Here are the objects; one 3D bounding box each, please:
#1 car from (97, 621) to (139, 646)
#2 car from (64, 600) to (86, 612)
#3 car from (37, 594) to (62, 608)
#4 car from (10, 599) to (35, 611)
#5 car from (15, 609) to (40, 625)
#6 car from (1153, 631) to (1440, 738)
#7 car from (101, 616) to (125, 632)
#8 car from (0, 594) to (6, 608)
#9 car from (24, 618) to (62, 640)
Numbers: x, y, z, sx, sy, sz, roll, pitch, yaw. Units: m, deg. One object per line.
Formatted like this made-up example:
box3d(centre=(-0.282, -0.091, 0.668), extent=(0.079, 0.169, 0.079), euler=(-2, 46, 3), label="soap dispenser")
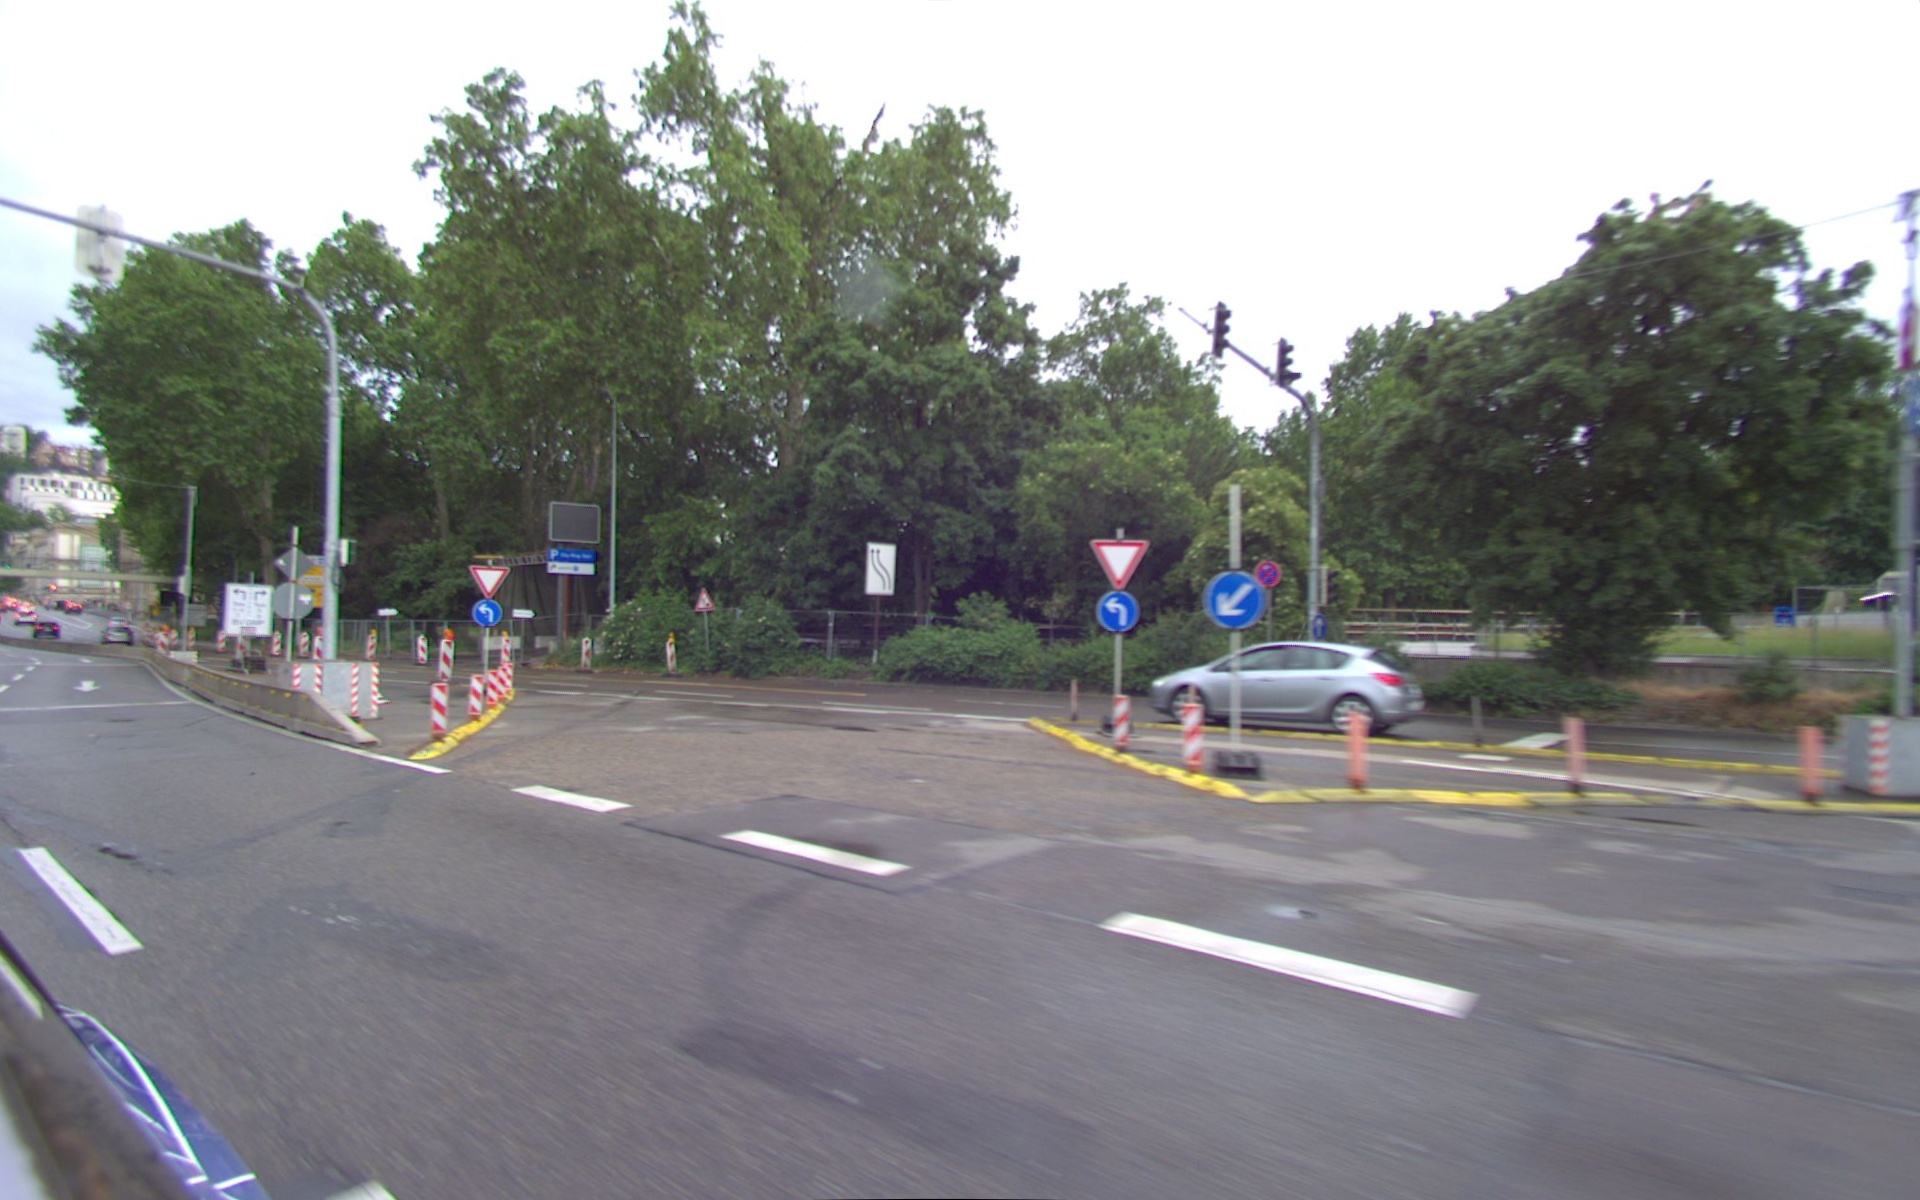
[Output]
box3d(centre=(-62.528, 2.474, 75.122), extent=(1.970, 1.552, 4.449), euler=(4, -1, -44), label="car")
box3d(centre=(-133.552, 0.876, 152.703), extent=(4.319, 1.666, 2.008), euler=(-1, -3, 43), label="car")
box3d(centre=(-147.276, 0.203, 163.683), extent=(3.991, 2.029, 1.976), euler=(3, -1, 35), label="car")
box3d(centre=(-135.463, 0.691, 146.189), extent=(4.206, 1.393, 1.975), euler=(3, -1, 37), label="car")
box3d(centre=(-108.186, 1.956, 117.445), extent=(2.006, 1.666, 4.916), euler=(4, -3, -43), label="car")
box3d(centre=(5.487, 1.332, 16.718), extent=(4.169, 1.474, 1.749), euler=(0, -4, 36), label="car")
box3d(centre=(-93.070, 2.614, 111.193), extent=(1.846, 1.552, 4.096), euler=(4, -1, -42), label="car")
box3d(centre=(-138.785, 0.084, 145.245), extent=(5.040, 1.951, 2.010), euler=(3, -1, 40), label="car")
box3d(centre=(-79.454, 2.515, 87.649), extent=(4.580, 1.552, 1.972), euler=(3, -1, 43), label="car")
